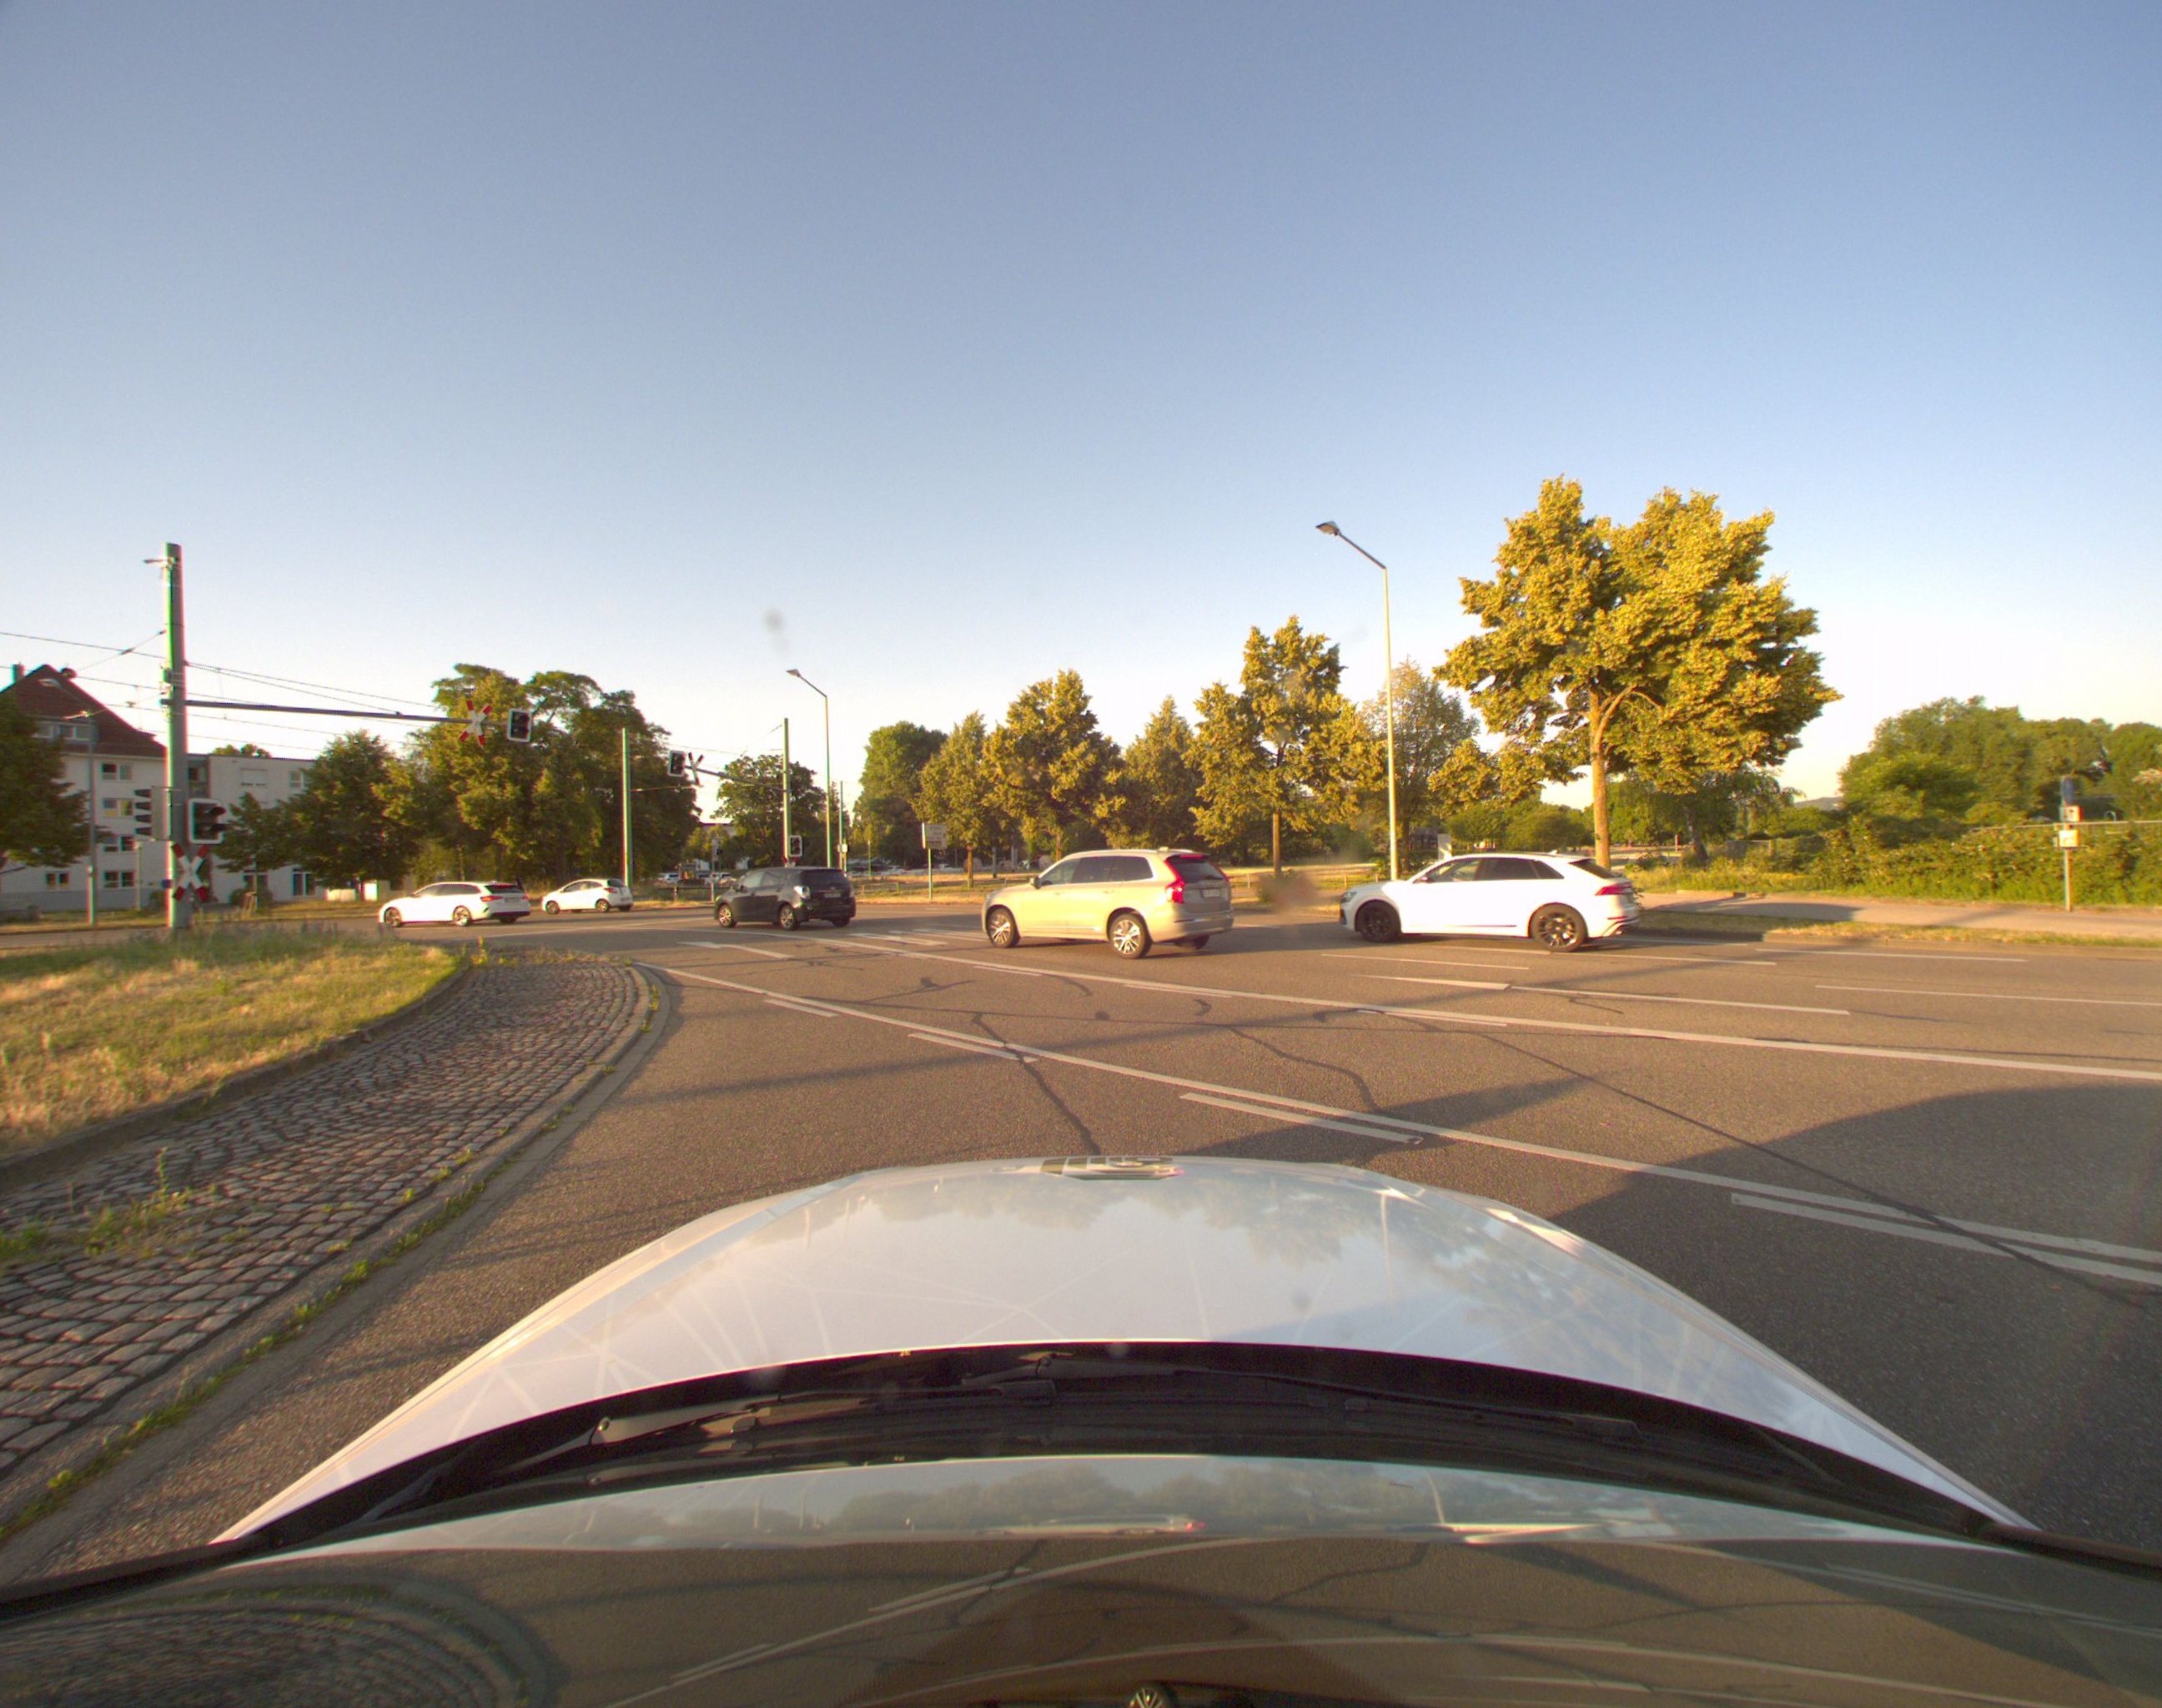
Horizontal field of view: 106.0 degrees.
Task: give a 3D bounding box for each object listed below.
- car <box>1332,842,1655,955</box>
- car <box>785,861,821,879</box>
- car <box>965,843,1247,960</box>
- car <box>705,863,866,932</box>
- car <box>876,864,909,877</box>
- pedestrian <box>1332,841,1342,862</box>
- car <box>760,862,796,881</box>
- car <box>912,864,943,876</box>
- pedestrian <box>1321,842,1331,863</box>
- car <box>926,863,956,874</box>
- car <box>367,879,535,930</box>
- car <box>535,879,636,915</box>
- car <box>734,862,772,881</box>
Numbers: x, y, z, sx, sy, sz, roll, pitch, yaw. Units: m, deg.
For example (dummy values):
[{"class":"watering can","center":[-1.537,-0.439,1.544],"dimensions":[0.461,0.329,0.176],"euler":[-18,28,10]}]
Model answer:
[{"class":"car","center":[7.287,0.702,14.732],"dimensions":[4.878,1.710,1.926],"euler":[-1,0,40]},{"class":"car","center":[-33.463,1.937,97.952],"dimensions":[3.948,2.098,2.013],"euler":[-2,0,34]},{"class":"car","center":[0.282,0.770,14.461],"dimensions":[4.858,1.754,1.934],"euler":[-2,-2,41]},{"class":"car","center":[-7.906,1.104,21.605],"dimensions":[4.398,1.633,1.815],"euler":[-2,-1,35]},{"class":"car","center":[-25.195,2.217,108.697],"dimensions":[3.948,1.551,2.013],"euler":[-2,0,33]},{"class":"pedestrian","center":[20.454,-0.210,65.123],"dimensions":[0.523,1.626,0.624],"euler":[-2,0,37]},{"class":"car","center":[-35.374,2.042,95.110],"dimensions":[3.948,2.098,2.013],"euler":[-2,0,34]},{"class":"car","center":[-21.593,2.206,114.863],"dimensions":[3.948,1.551,2.013],"euler":[-2,0,33]},{"class":"pedestrian","center":[19.626,-0.142,65.219],"dimensions":[0.526,1.626,0.584],"euler":[-2,0,40]},{"class":"car","center":[-20.022,2.103,116.596],"dimensions":[3.948,1.551,2.013],"euler":[-2,0,33]},{"class":"car","center":[-20.482,1.638,26.535],"dimensions":[4.505,1.448,1.733],"euler":[-2,0,11]},{"class":"car","center":[-21.533,1.843,35.440],"dimensions":[3.460,1.443,1.555],"euler":[-1,-1,3]},{"class":"car","center":[-37.113,1.972,92.180],"dimensions":[3.948,2.098,2.013],"euler":[-2,0,34]}]
